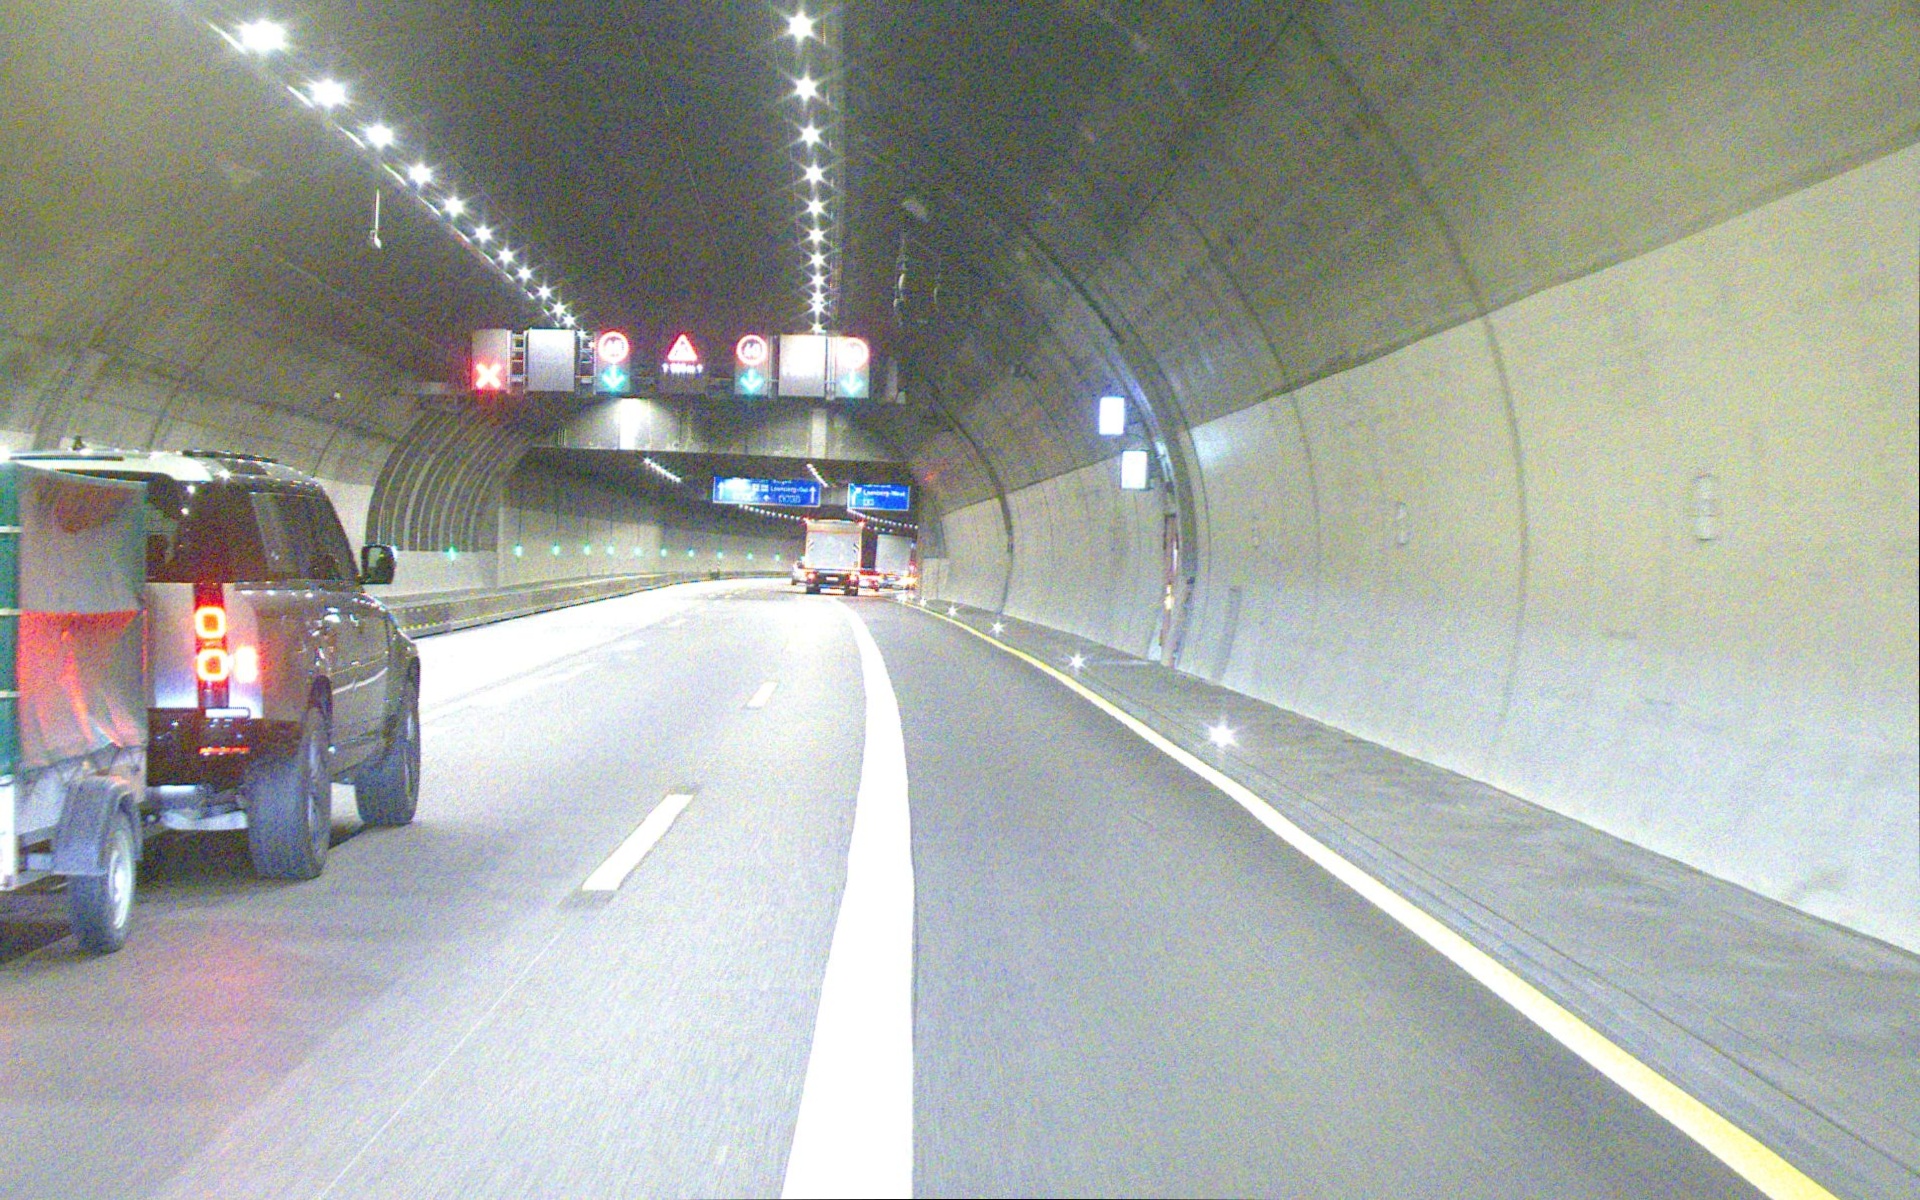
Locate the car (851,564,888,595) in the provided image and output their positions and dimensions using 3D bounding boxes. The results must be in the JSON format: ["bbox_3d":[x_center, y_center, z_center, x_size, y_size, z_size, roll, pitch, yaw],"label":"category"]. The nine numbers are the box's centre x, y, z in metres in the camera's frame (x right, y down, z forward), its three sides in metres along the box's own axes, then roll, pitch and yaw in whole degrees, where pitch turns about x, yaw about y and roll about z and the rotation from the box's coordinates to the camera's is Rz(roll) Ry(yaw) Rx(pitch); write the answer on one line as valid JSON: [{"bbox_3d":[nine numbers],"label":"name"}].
[{"bbox_3d":[-5.839,-1.325,221.796,1.994,1.888,5.532,1,1,3],"label":"car"}]

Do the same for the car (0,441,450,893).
[{"bbox_3d":[-3.866,0.233,17.116,1.993,1.888,5.454,0,1,-2],"label":"car"}]

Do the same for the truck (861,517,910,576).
[{"bbox_3d":[-5.682,-4.055,259.788,3.474,4.301,10.953,0,1,-2],"label":"truck"}]

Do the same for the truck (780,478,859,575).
[{"bbox_3d":[-6.607,-3.459,161.470,3.474,4.301,10.953,1,1,-2],"label":"truck"}]

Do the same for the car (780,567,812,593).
[{"bbox_3d":[-10.570,-1.287,221.458,1.993,1.576,4.001,1,1,-3],"label":"car"}]
